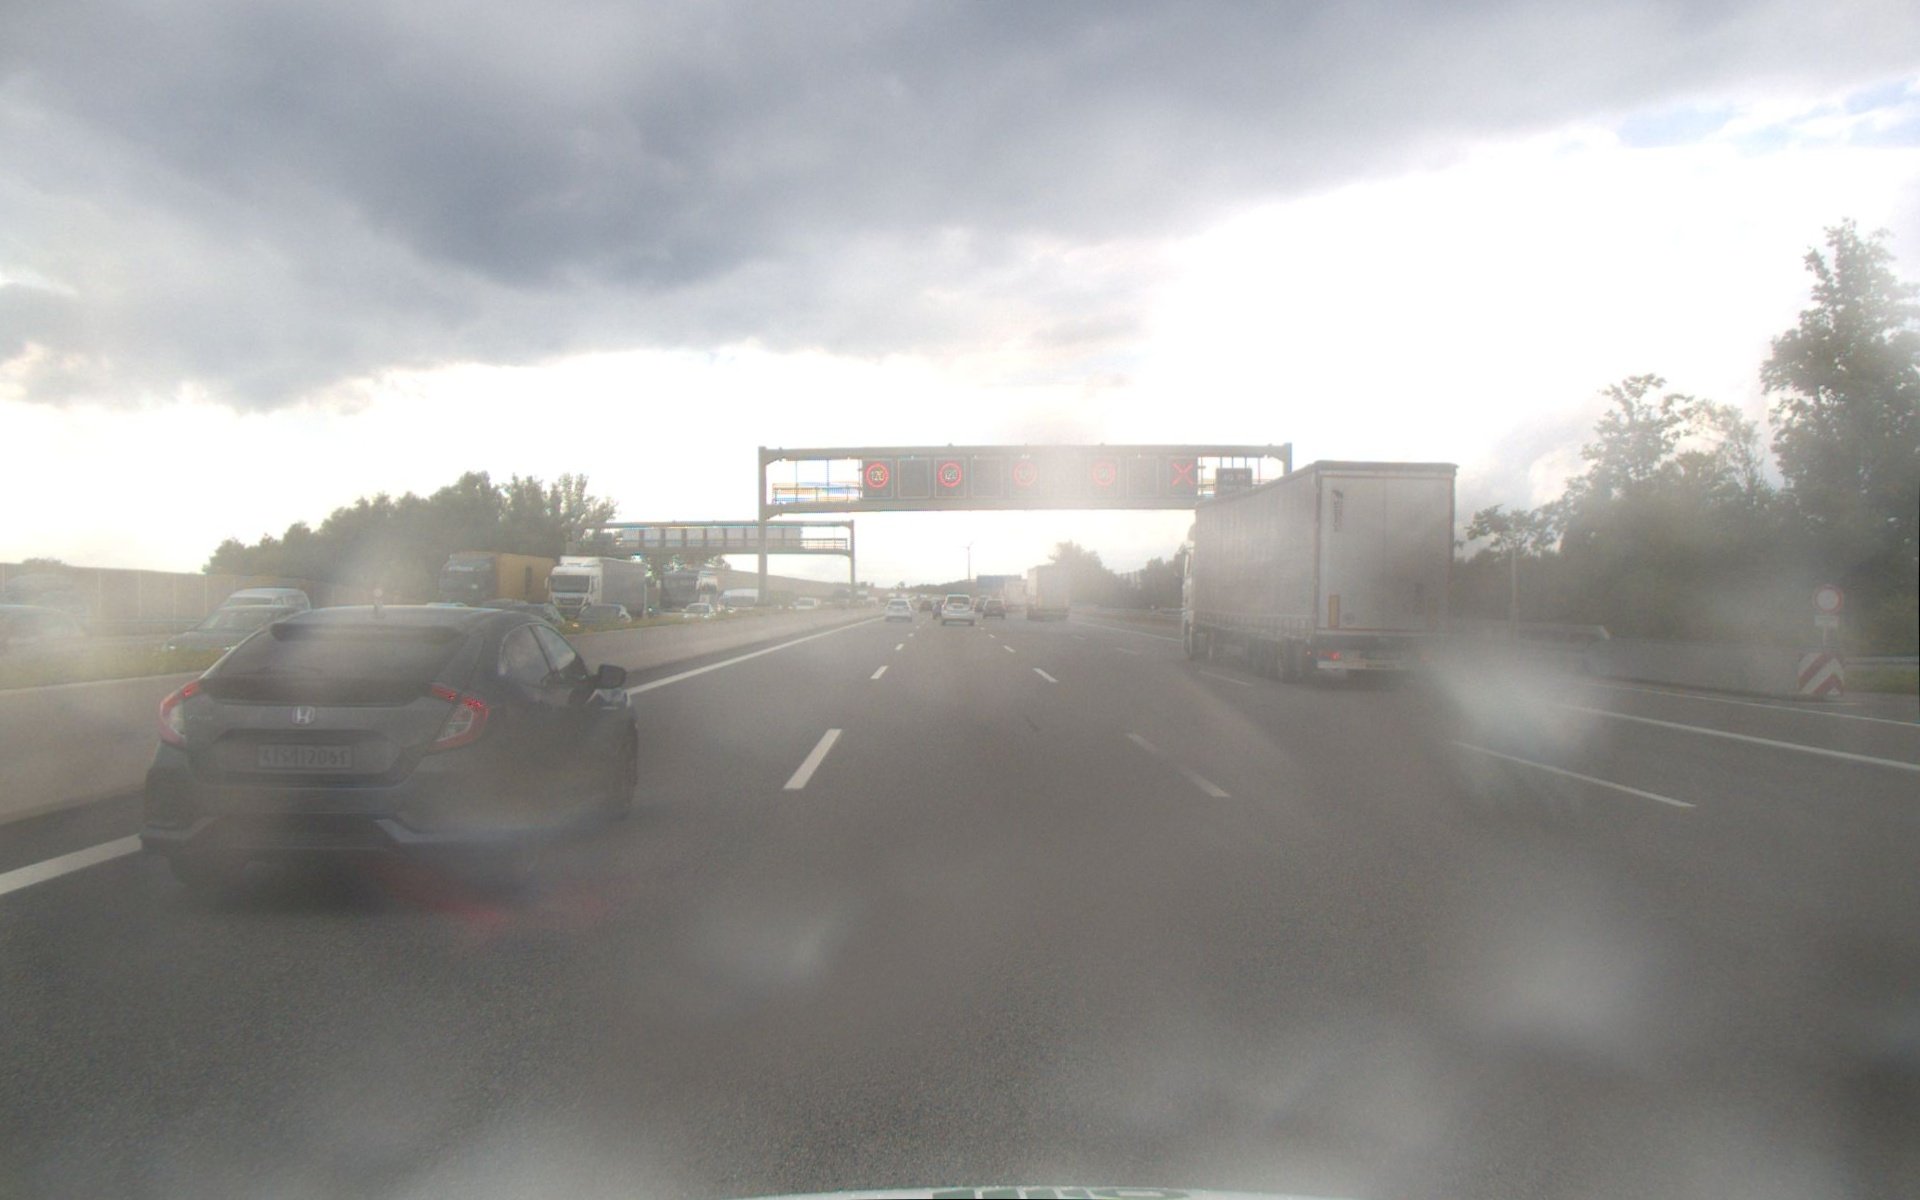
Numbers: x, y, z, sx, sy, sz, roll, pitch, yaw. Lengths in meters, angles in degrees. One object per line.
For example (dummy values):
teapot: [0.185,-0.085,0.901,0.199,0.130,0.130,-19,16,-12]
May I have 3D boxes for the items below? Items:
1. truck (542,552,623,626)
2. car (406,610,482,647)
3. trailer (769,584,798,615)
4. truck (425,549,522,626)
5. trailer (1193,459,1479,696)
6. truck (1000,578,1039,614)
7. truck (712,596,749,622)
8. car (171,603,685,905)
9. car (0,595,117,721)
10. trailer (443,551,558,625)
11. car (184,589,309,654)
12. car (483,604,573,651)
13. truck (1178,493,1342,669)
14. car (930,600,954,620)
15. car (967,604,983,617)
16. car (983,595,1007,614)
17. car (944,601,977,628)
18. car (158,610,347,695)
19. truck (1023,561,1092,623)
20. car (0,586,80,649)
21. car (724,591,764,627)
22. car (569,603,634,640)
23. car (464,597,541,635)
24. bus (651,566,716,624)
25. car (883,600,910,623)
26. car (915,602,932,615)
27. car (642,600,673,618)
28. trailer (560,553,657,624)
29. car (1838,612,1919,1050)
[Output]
truck: [-21.759,-0.615,95.713,2.827,4.031,7.536,1,0,0]
car: [-21.372,1.138,68.674,1.751,1.406,4.859,2,0,-2]
trailer: [-18.476,-0.066,173.426,2.399,3.193,6.050,0,0,0]
truck: [-26.370,-0.607,90.003,2.967,4.002,7.710,0,0,0]
trailer: [7.559,-0.420,35.946,2.901,4.090,14.117,1,0,0]
truck: [7.384,-0.489,207.529,4.157,4.249,11.987,2,0,-1]
truck: [-18.291,0.723,132.036,2.198,2.035,5.543,0,0,-1]
car: [-2.985,0.752,10.516,1.725,1.393,5.058,1,0,-1]
car: [-12.918,0.727,21.633,1.682,1.550,4.211,2,0,-2]
trailer: [-26.346,-0.617,95.681,2.967,4.002,12.973,0,0,0]
car: [-20.991,0.610,48.853,1.754,1.770,4.576,2,0,-2]
car: [-14.059,0.852,54.061,1.751,1.406,4.859,2,0,-2]
truck: [7.522,-0.462,42.356,2.901,4.090,6.588,1,0,0]
car: [-1.383,0.761,125.480,1.737,1.466,4.053,1,0,-2]
car: [1.720,1.210,191.911,1.798,1.466,4.054,1,0,-1]
car: [2.818,0.360,134.154,1.798,1.466,4.054,1,0,-1]
car: [-0.005,0.830,96.744,1.737,1.466,4.053,1,0,-2]
car: [-13.699,0.964,32.363,1.682,1.451,4.859,2,0,-2]
truck: [7.374,-0.606,127.047,4.095,4.363,12.608,2,0,-2]
car: [-25.710,0.438,44.725,1.751,1.625,3.954,2,0,-2]
car: [-14.860,0.594,114.097,2.093,2.393,5.708,2,0,-2]
car: [-14.595,0.864,67.492,1.751,1.406,4.588,2,0,-2]
car: [-17.736,0.598,64.342,1.751,1.406,4.859,2,0,-2]
bus: [-18.708,-0.279,112.365,2.599,3.744,10.633,0,0,0]
car: [-4.139,0.743,108.001,1.737,1.466,3.872,1,0,-2]
car: [-4.161,0.951,188.506,1.737,1.466,4.053,1,0,-3]
car: [-25.933,0.783,141.860,1.770,1.514,4.773,0,0,0]
trailer: [-21.705,-0.650,103.073,2.827,4.031,14.298,1,0,0]
car: [3.969,0.786,4.492,1.418,1.466,3.162,1,0,-2]
